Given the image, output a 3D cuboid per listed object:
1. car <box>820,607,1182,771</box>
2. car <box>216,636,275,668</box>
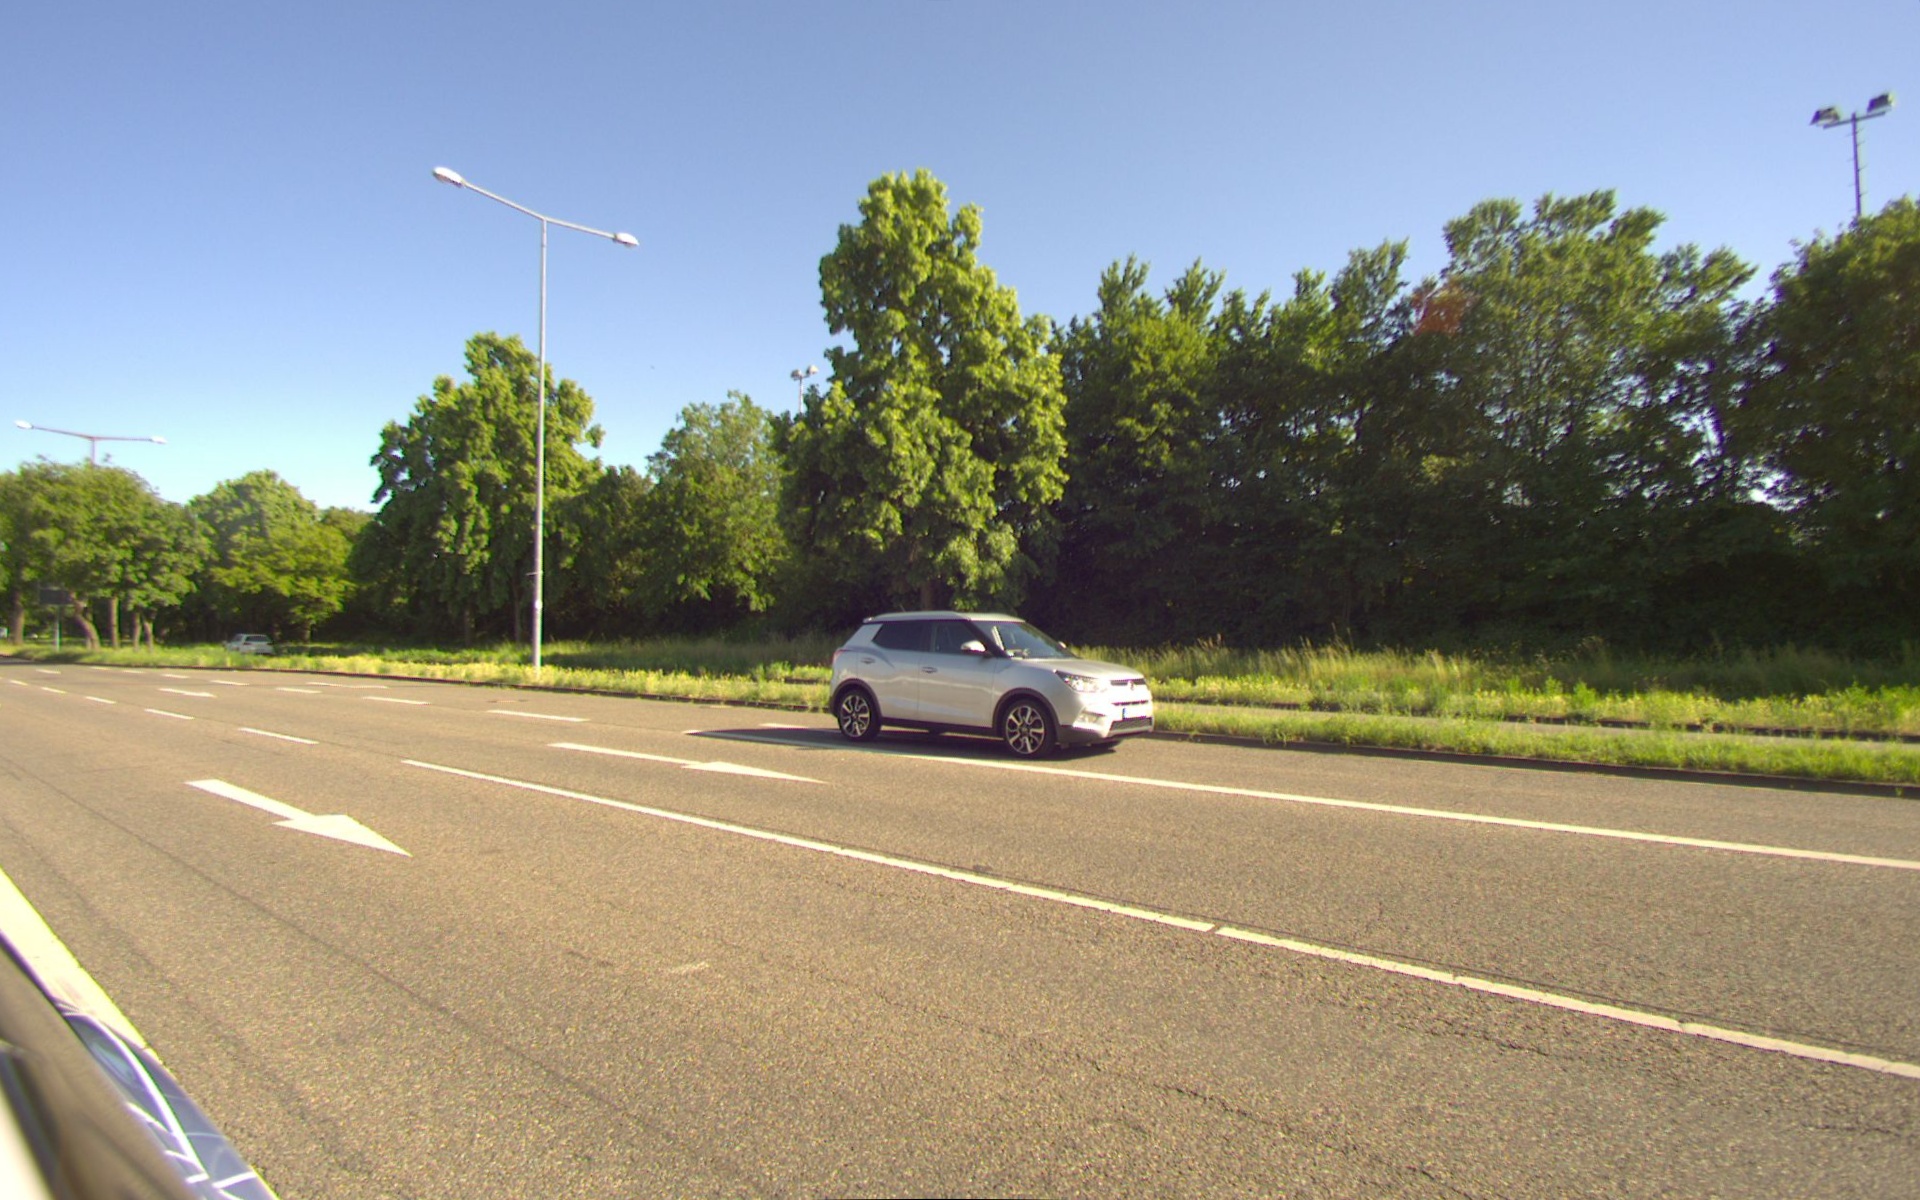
[{"bbox_3d":[0.366,0.944,12.013,4.103,1.622,1.766,-2,-3,41],"label":"car"},{"bbox_3d":[-42.610,3.080,60.315,4.406,1.716,1.892,-1,0,41],"label":"car"}]
